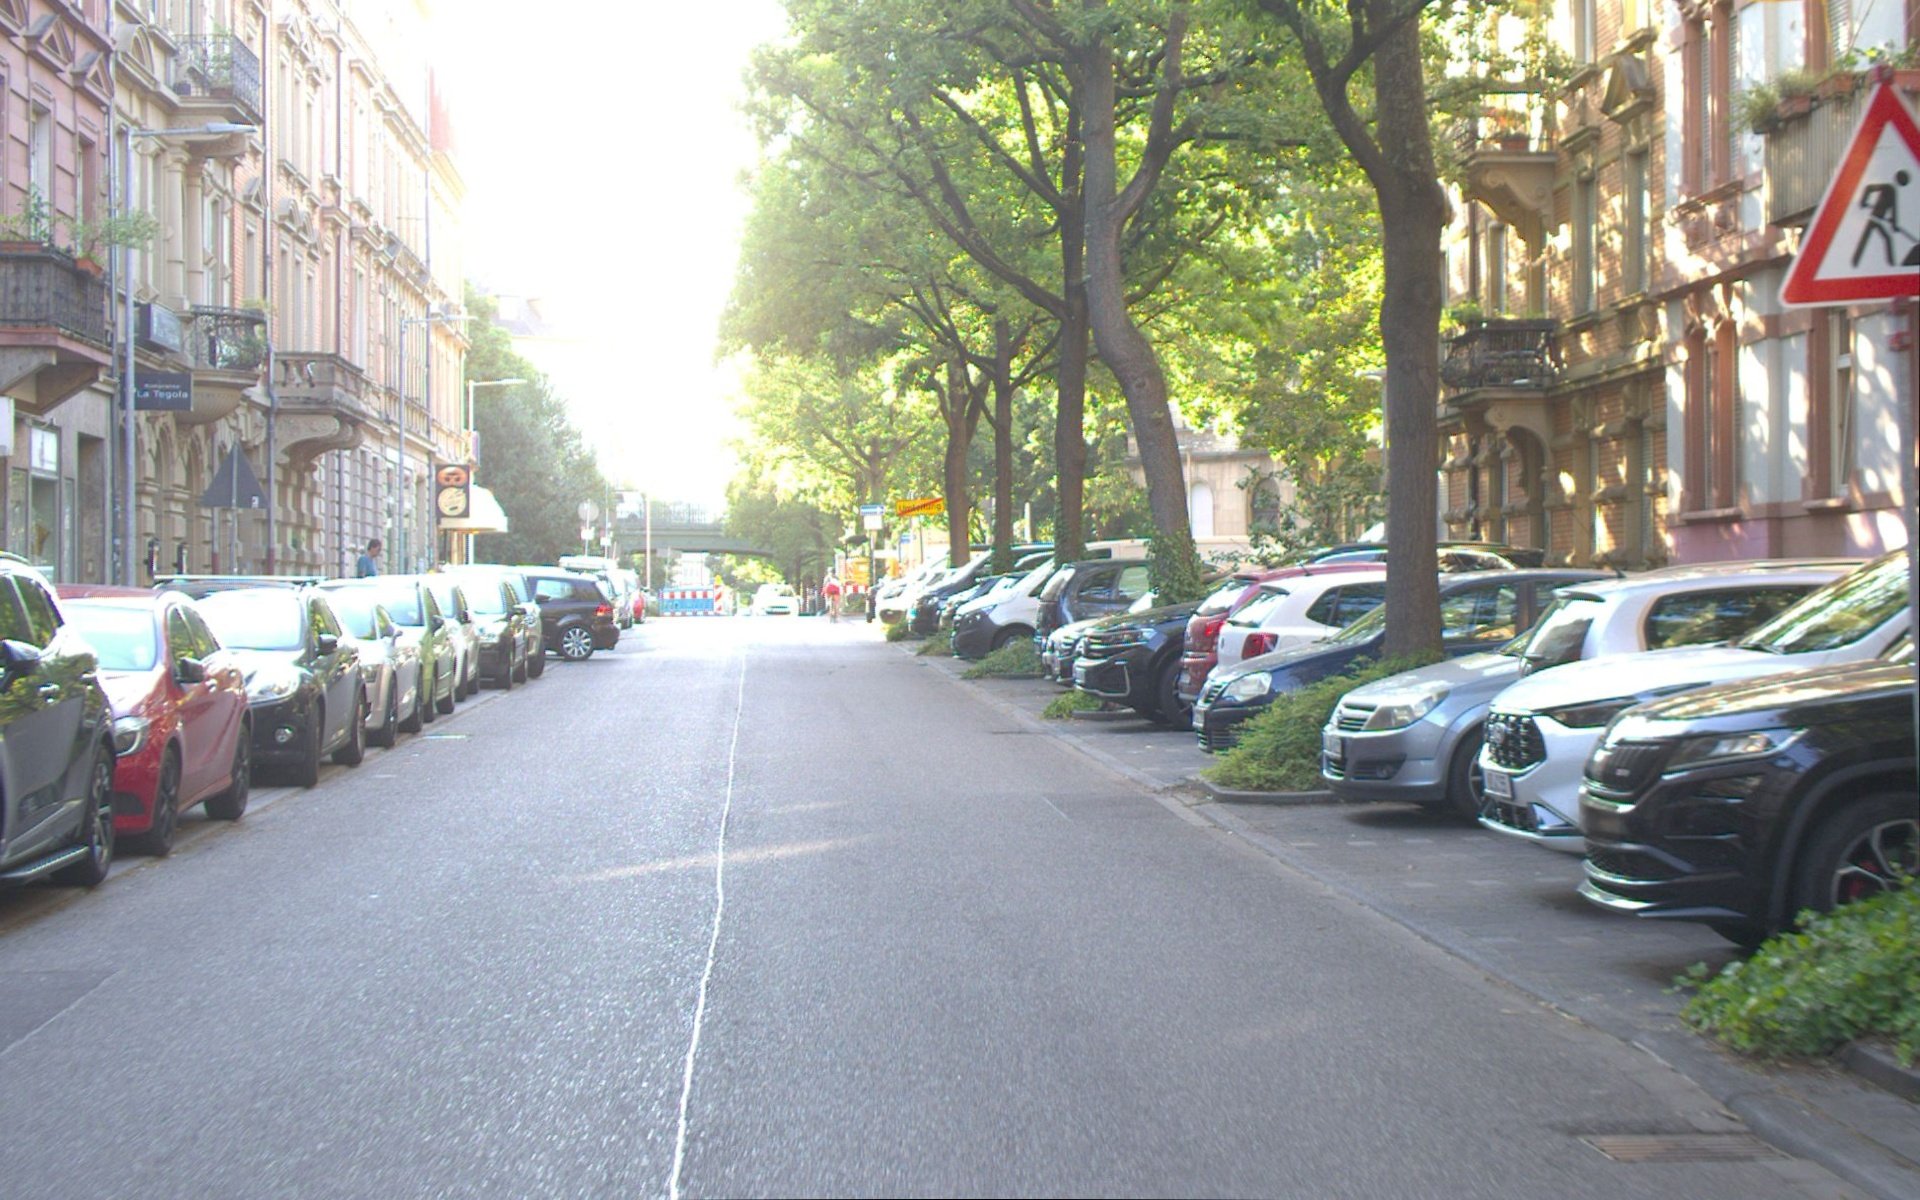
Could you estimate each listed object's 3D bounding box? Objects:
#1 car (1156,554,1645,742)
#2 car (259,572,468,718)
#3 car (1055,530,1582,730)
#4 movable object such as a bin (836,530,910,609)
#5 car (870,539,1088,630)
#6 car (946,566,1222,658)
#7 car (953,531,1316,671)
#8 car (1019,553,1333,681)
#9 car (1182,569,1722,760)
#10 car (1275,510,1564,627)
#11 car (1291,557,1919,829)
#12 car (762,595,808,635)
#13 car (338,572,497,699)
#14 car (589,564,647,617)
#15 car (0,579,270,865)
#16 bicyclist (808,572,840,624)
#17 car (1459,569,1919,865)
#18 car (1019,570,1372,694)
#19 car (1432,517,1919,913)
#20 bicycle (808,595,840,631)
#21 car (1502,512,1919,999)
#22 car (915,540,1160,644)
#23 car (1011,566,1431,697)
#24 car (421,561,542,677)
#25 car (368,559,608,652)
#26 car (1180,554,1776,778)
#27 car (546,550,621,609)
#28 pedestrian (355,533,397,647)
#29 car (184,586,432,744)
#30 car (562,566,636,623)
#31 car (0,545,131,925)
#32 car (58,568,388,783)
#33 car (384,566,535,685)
[{"bbox_3d":[3.856,0.397,30.463,3.986,1.585,1.783,0,1,-6],"label":"car"},{"bbox_3d":[-6.209,0.433,36.140,1.705,1.434,3.959,0,1,-3],"label":"car"},{"bbox_3d":[3.365,0.262,32.744,4.643,1.697,1.882,-2,1,-7],"label":"car"},{"bbox_3d":[-3.033,-1.049,120.392,1.994,2.690,3.109,0,0,10],"label":"movable object such as a bin"},{"bbox_3d":[0.411,-0.369,80.327,4.973,2.089,2.106,0,0,-3],"label":"car"},{"bbox_3d":[1.994,0.186,56.332,4.369,1.451,1.934,0,1,-3],"label":"car"},{"bbox_3d":[2.489,0.044,50.173,5.091,1.933,2.158,0,-3,-3],"label":"car"},{"bbox_3d":[2.828,0.205,45.482,3.883,1.643,1.725,0,1,-8],"label":"car"},{"bbox_3d":[3.919,0.491,27.725,3.986,1.457,1.783,0,1,-6],"label":"car"},{"bbox_3d":[10.141,-0.688,76.066,5.893,2.529,2.381,0,0,-9],"label":"car"},{"bbox_3d":[4.242,0.523,20.551,4.221,1.531,1.801,0,1,-6],"label":"car"},{"bbox_3d":[-6.945,0.586,136.174,1.749,1.504,4.001,0,1,-4],"label":"car"},{"bbox_3d":[-6.635,0.402,42.348,1.581,1.468,4.001,0,1,-4],"label":"car"},{"bbox_3d":[-10.190,-0.294,102.366,1.669,1.525,4.001,1,0,-6],"label":"car"},{"bbox_3d":[-5.265,0.624,20.064,1.821,1.421,4.314,2,1,-3],"label":"car"},{"bbox_3d":[-3.705,-0.062,93.730,0.803,1.379,0.985,1,0,-4],"label":"bicyclist"},{"bbox_3d":[4.838,0.582,18.141,4.100,1.464,1.801,0,1,-2],"label":"car"},{"bbox_3d":[2.894,0.377,42.788,4.104,1.498,1.811,0,1,-8],"label":"car"},{"bbox_3d":[4.530,0.504,15.437,4.475,1.650,1.892,0,-1,-4],"label":"car"},{"bbox_3d":[-3.706,0.349,93.780,0.803,0.965,2.109,1,0,-4],"label":"bicycle"},{"bbox_3d":[4.399,0.548,12.652,4.475,1.650,1.891,0,-1,-1],"label":"car"},{"bbox_3d":[1.496,-0.177,67.564,4.614,2.007,2.000,0,0,-5],"label":"car"},{"bbox_3d":[3.038,0.347,40.572,4.658,1.498,1.932,0,1,-6],"label":"car"},{"bbox_3d":[-7.134,0.253,51.360,1.647,1.569,4.050,3,0,-8],"label":"car"},{"bbox_3d":[-8.060,0.078,58.684,3.986,1.524,1.826,0,1,-9],"label":"car"},{"bbox_3d":[3.726,0.453,25.142,3.986,1.383,1.678,-3,1,-4],"label":"car"},{"bbox_3d":[-9.488,-0.528,86.825,1.764,1.432,4.301,0,1,-5],"label":"car"},{"bbox_3d":[-9.729,-0.170,57.217,0.638,1.881,0.592,0,0,-14],"label":"pedestrian"},{"bbox_3d":[-5.892,0.547,31.471,1.705,1.318,4.102,0,1,-3],"label":"car"},{"bbox_3d":[-9.644,-0.163,92.047,1.725,1.432,3.996,2,0,-3],"label":"car"},{"bbox_3d":[-4.967,0.539,15.082,1.821,1.595,4.314,2,1,-3],"label":"car"},{"bbox_3d":[-5.593,0.518,26.603,1.821,1.472,4.424,2,1,-3],"label":"car"},{"bbox_3d":[-6.737,0.309,46.599,1.647,1.468,4.001,3,0,-4],"label":"car"}]
